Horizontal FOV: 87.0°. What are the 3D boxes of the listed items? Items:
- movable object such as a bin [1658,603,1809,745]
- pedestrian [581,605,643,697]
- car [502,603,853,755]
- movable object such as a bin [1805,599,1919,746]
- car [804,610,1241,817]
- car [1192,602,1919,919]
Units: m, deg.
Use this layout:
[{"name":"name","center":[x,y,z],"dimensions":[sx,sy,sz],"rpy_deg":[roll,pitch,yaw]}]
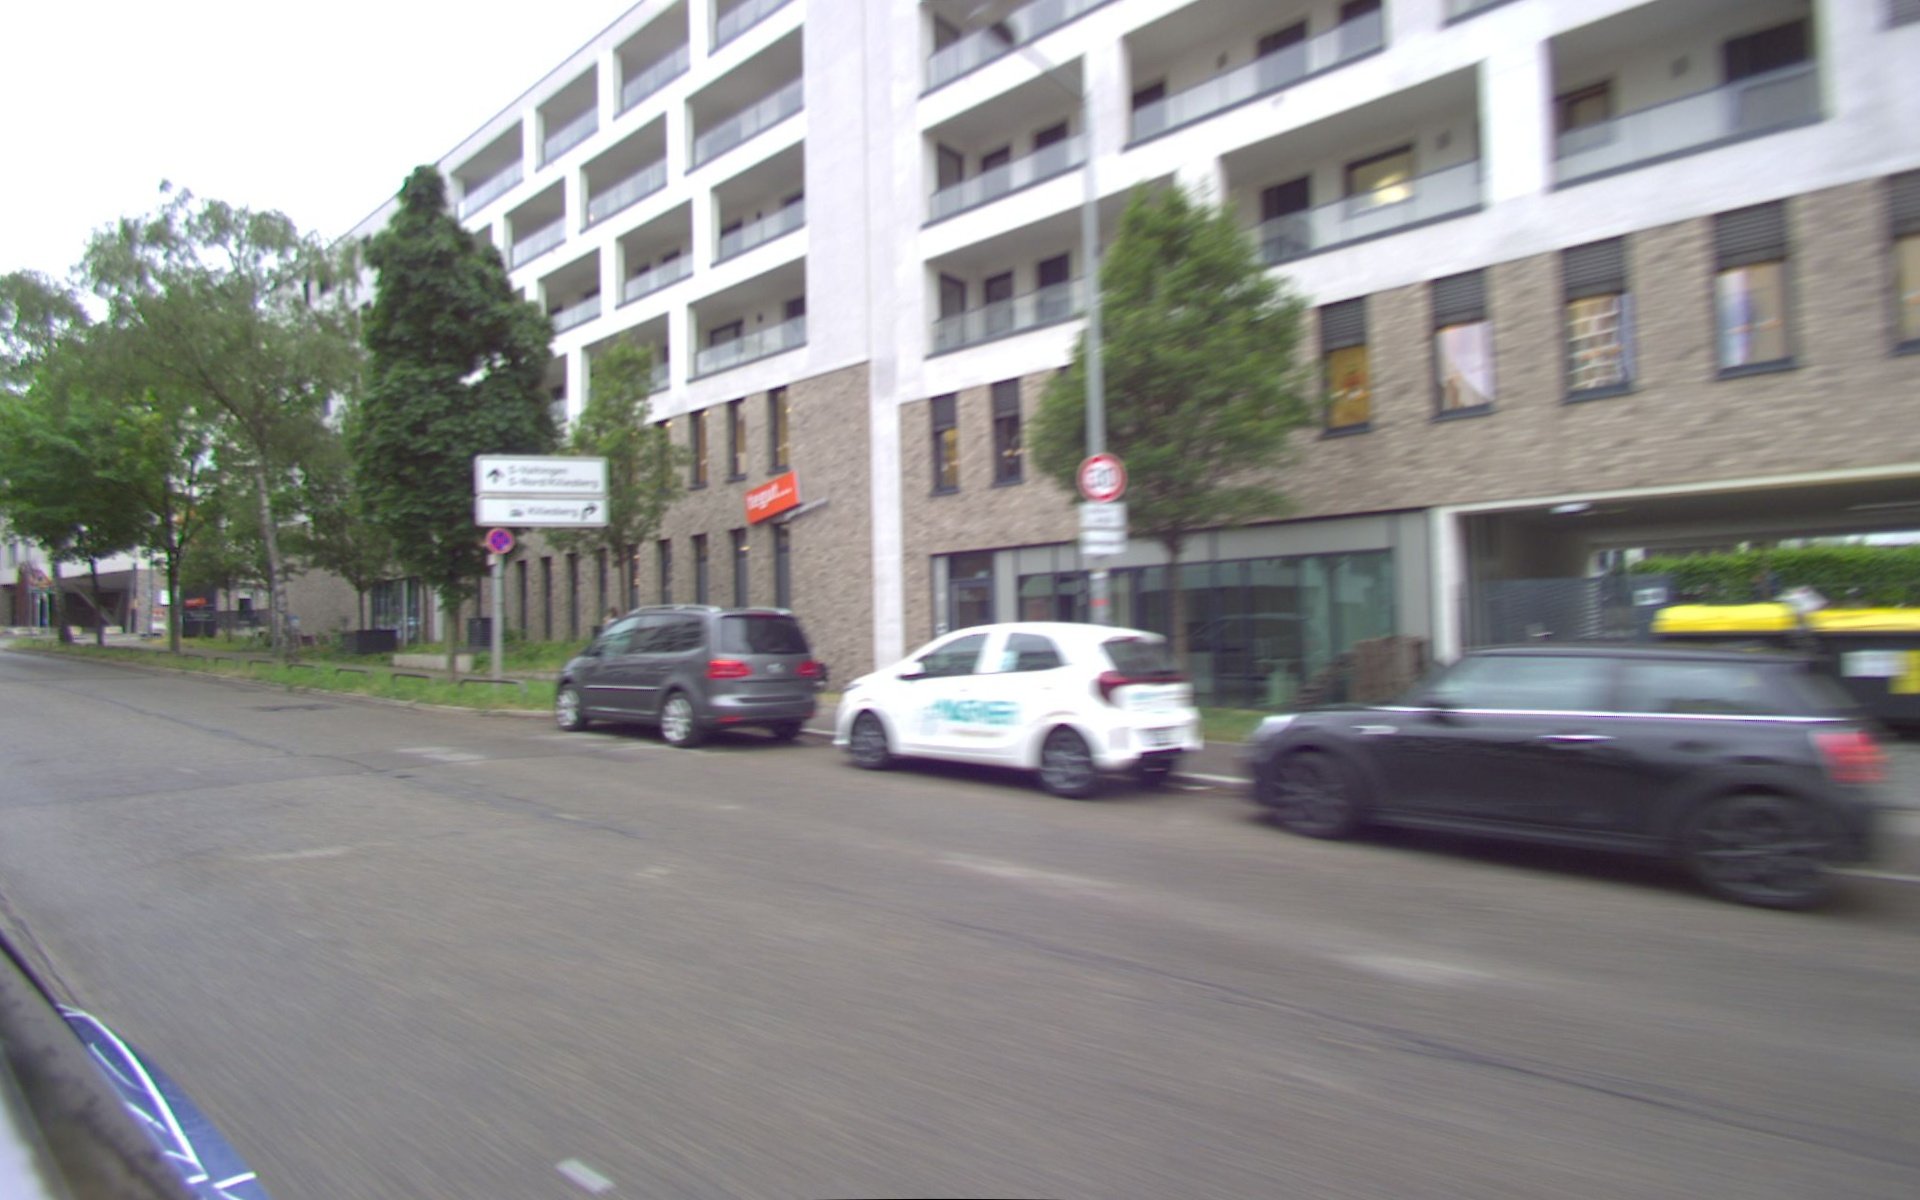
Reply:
[{"name":"movable object such as a bin","center":[8.971,0.784,11.812],"dimensions":[1.288,1.440,2.008],"rpy_deg":[-1,1,37]},{"name":"pedestrian","center":[-6.669,0.961,19.374],"dimensions":[0.955,1.696,0.702],"rpy_deg":[-2,-1,36]},{"name":"car","center":[-3.773,0.920,13.114],"dimensions":[4.680,1.621,2.057],"rpy_deg":[-2,-3,39]},{"name":"movable object such as a bin","center":[10.021,0.719,10.867],"dimensions":[1.314,1.434,2.035],"rpy_deg":[-1,0,37]},{"name":"car","center":[0.473,0.933,9.916],"dimensions":[4.028,1.612,1.755],"rpy_deg":[-1,-1,40]},{"name":"car","center":[3.887,0.781,6.766],"dimensions":[4.244,1.527,1.778],"rpy_deg":[0,0,42]}]
